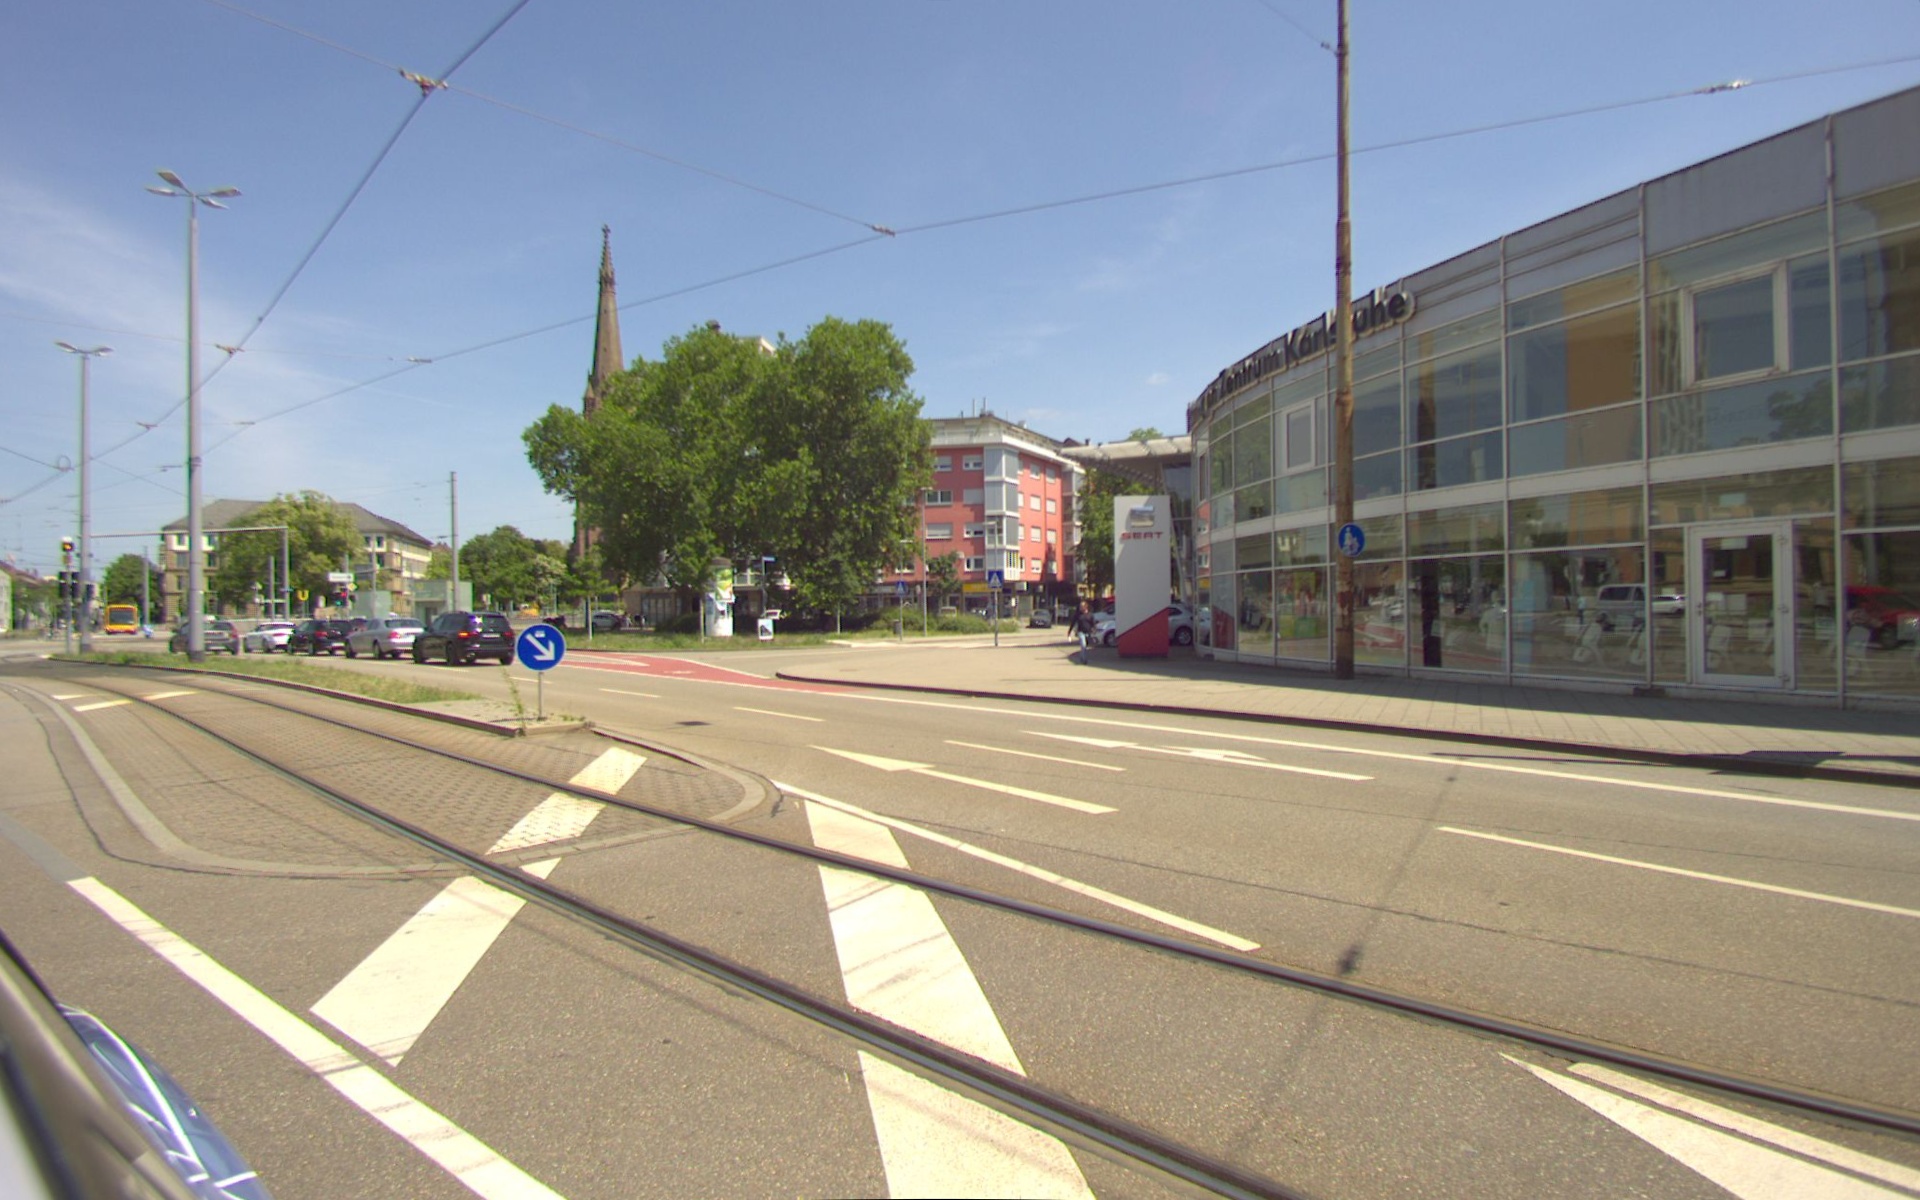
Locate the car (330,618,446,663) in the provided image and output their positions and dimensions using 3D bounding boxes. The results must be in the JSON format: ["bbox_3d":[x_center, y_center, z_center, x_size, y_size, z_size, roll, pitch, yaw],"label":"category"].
[{"bbox_3d":[-20.869,1.438,36.849,5.127,1.541,1.973,-1,-2,40],"label":"car"}]

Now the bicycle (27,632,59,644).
[{"bbox_3d":[-75.136,3.108,82.909,0.527,0.986,1.884,-2,-1,35],"label":"bicycle"}]

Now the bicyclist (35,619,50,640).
[{"bbox_3d":[-75.206,2.420,82.963,0.527,1.701,0.803,-2,-1,35],"label":"bicyclist"}]

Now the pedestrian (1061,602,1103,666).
[{"bbox_3d":[3.236,0.897,26.858,0.820,1.654,0.720,-2,-1,43],"label":"pedestrian"}]

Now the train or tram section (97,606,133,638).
[{"bbox_3d":[-91.653,2.378,109.701,2.800,3.238,9.123,-1,-1,-41],"label":"train or tram section"}]

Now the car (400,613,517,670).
[{"bbox_3d":[-15.739,1.266,31.681,4.525,1.639,1.802,-2,-2,43],"label":"car"}]

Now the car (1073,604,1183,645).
[{"bbox_3d":[6.738,0.968,40.494,4.150,1.431,1.604,-3,-1,16],"label":"car"}]

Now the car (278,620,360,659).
[{"bbox_3d":[-25.761,1.565,40.626,3.900,1.473,1.654,-2,-1,39],"label":"car"}]

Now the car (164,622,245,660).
[{"bbox_3d":[-31.443,1.694,42.098,4.327,1.491,1.824,-2,-2,41],"label":"car"}]

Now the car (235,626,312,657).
[{"bbox_3d":[-30.562,1.803,45.033,4.199,1.309,1.690,-1,-2,39],"label":"car"}]

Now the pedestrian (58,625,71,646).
[{"bbox_3d":[-73.892,2.900,83.492,0.447,1.684,0.651,-1,-1,24],"label":"pedestrian"}]

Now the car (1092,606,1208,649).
[{"bbox_3d":[6.889,1.006,36.969,4.004,1.468,1.500,-1,-1,5],"label":"car"}]

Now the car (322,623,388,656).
[{"bbox_3d":[-31.177,2.032,52.103,4.395,1.610,1.518,-2,-2,39],"label":"car"}]
